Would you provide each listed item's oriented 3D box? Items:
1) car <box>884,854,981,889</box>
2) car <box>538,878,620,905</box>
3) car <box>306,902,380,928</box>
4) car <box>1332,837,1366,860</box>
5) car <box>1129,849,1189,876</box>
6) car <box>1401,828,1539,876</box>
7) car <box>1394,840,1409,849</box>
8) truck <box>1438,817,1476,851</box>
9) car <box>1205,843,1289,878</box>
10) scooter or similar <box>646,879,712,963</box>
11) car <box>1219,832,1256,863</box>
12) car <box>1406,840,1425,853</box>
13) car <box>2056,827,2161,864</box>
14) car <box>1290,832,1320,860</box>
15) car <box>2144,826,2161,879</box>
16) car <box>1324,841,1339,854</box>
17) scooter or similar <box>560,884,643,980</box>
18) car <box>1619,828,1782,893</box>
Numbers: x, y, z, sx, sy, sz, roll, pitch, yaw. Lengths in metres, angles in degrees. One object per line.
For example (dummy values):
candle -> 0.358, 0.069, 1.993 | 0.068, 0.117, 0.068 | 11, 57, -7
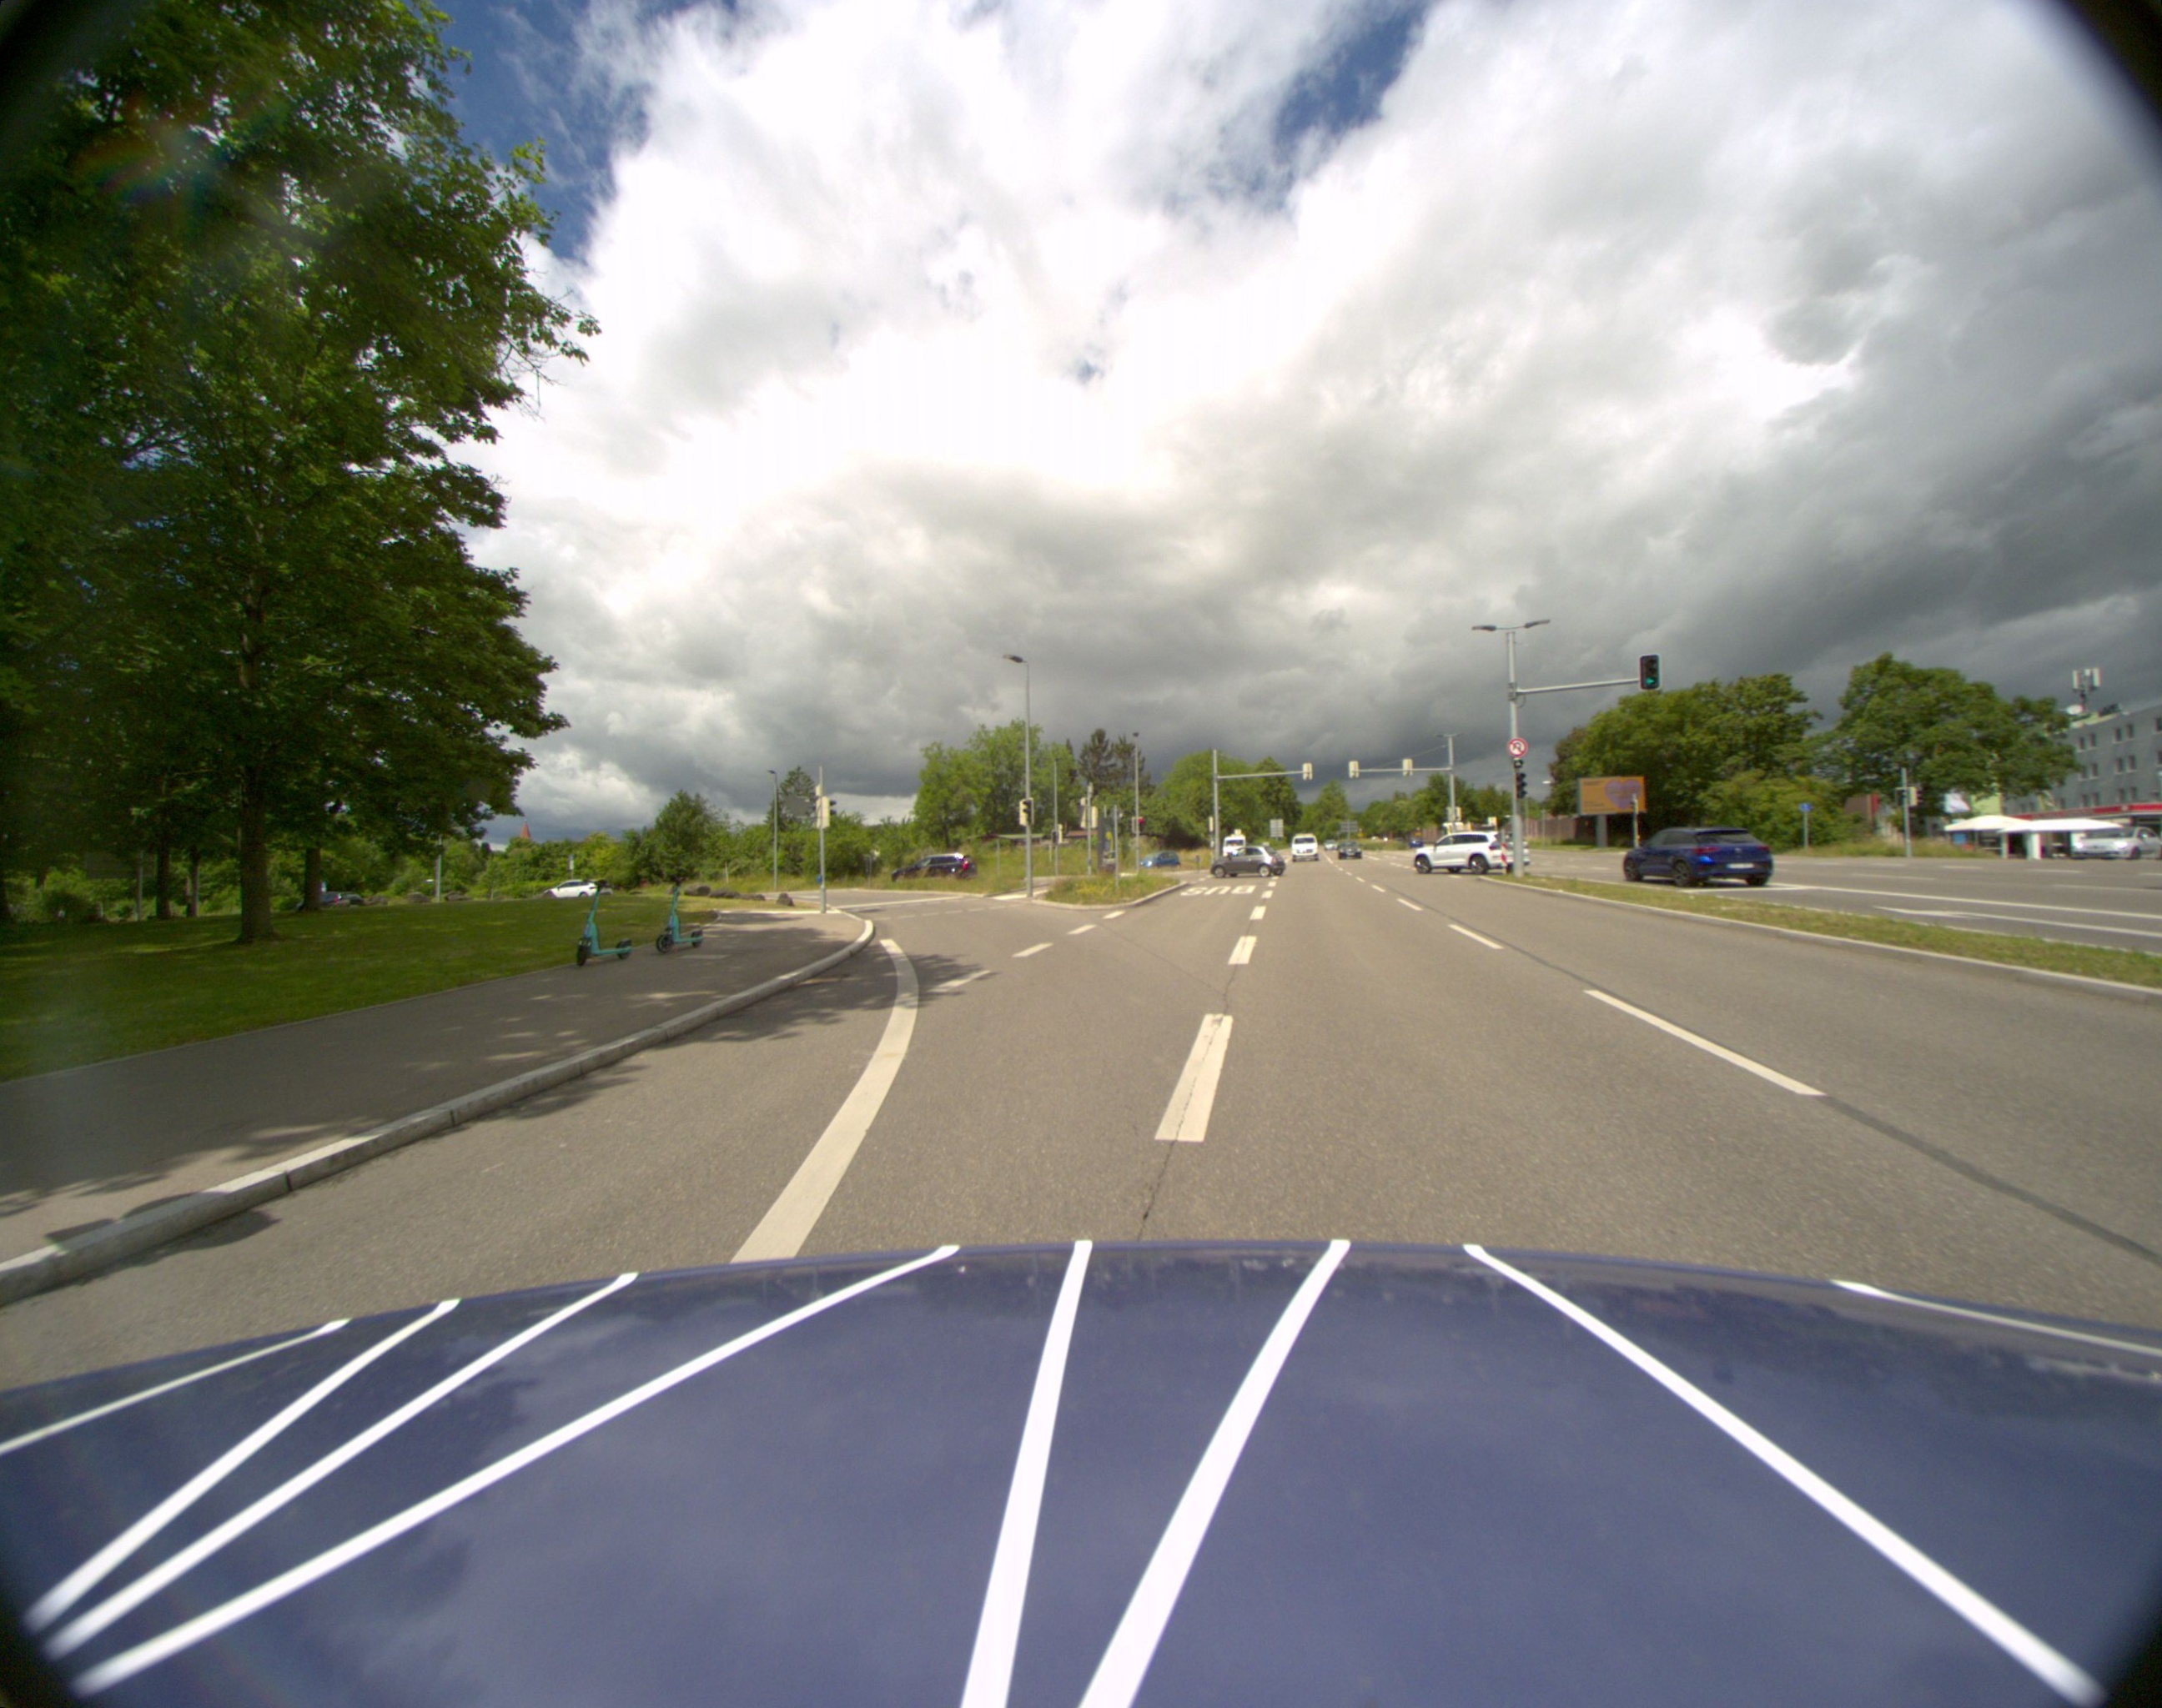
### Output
car -> -8.390, 0.992, 43.060 | 4.973, 1.680, 1.912 | -3, 1, 14
car -> -31.946, 2.372, 48.392 | 4.372, 1.461, 1.623 | -3, 1, 9
car -> -51.155, 4.233, 52.690 | 4.157, 1.568, 1.793 | -3, -2, 15
car -> 20.404, -0.458, 58.103 | 1.907, 1.626, 4.975 | -2, 1, 14
car -> 5.610, 0.595, 54.069 | 1.905, 1.627, 4.456 | -2, 1, 42
car -> 14.961, -0.022, 29.576 | 1.735, 1.649, 4.894 | -2, 0, -19
car -> 51.289, -1.454, 121.661 | 1.693, 1.392, 4.005 | -2, 0, 16
truck -> 46.255, -2.394, 93.608 | 2.841, 3.555, 6.980 | -2, -4, 16
car -> 7.894, 0.365, 36.283 | 3.515, 1.451, 1.589 | -4, -4, 37
scooter or similar -> -6.511, 1.054, 12.365 | 0.534, 1.257, 1.189 | 0, 0, -6
car -> 14.495, -0.636, 70.222 | 2.160, 2.635, 5.834 | -2, 0, 23
car -> 44.482, -1.008, 101.017 | 1.693, 1.391, 4.007 | -2, -3, 16
car -> 43.650, -0.361, 32.152 | 4.003, 1.392, 1.694 | -2, 0, -19
car -> 17.006, -0.615, 57.840 | 1.907, 1.926, 4.975 | -2, 1, 14
car -> 43.033, -0.119, 28.507 | 4.000, 2.000, 2.000 | 0, -4, -9
car -> 35.571, -0.872, 107.970 | 1.996, 1.565, 4.008 | -2, -4, 18
scooter or similar -> -6.909, 1.093, 11.008 | 0.534, 1.257, 1.189 | 0, 0, -6
car -> 16.464, 0.162, 20.505 | 1.807, 1.502, 4.403 | -2, 0, 16
